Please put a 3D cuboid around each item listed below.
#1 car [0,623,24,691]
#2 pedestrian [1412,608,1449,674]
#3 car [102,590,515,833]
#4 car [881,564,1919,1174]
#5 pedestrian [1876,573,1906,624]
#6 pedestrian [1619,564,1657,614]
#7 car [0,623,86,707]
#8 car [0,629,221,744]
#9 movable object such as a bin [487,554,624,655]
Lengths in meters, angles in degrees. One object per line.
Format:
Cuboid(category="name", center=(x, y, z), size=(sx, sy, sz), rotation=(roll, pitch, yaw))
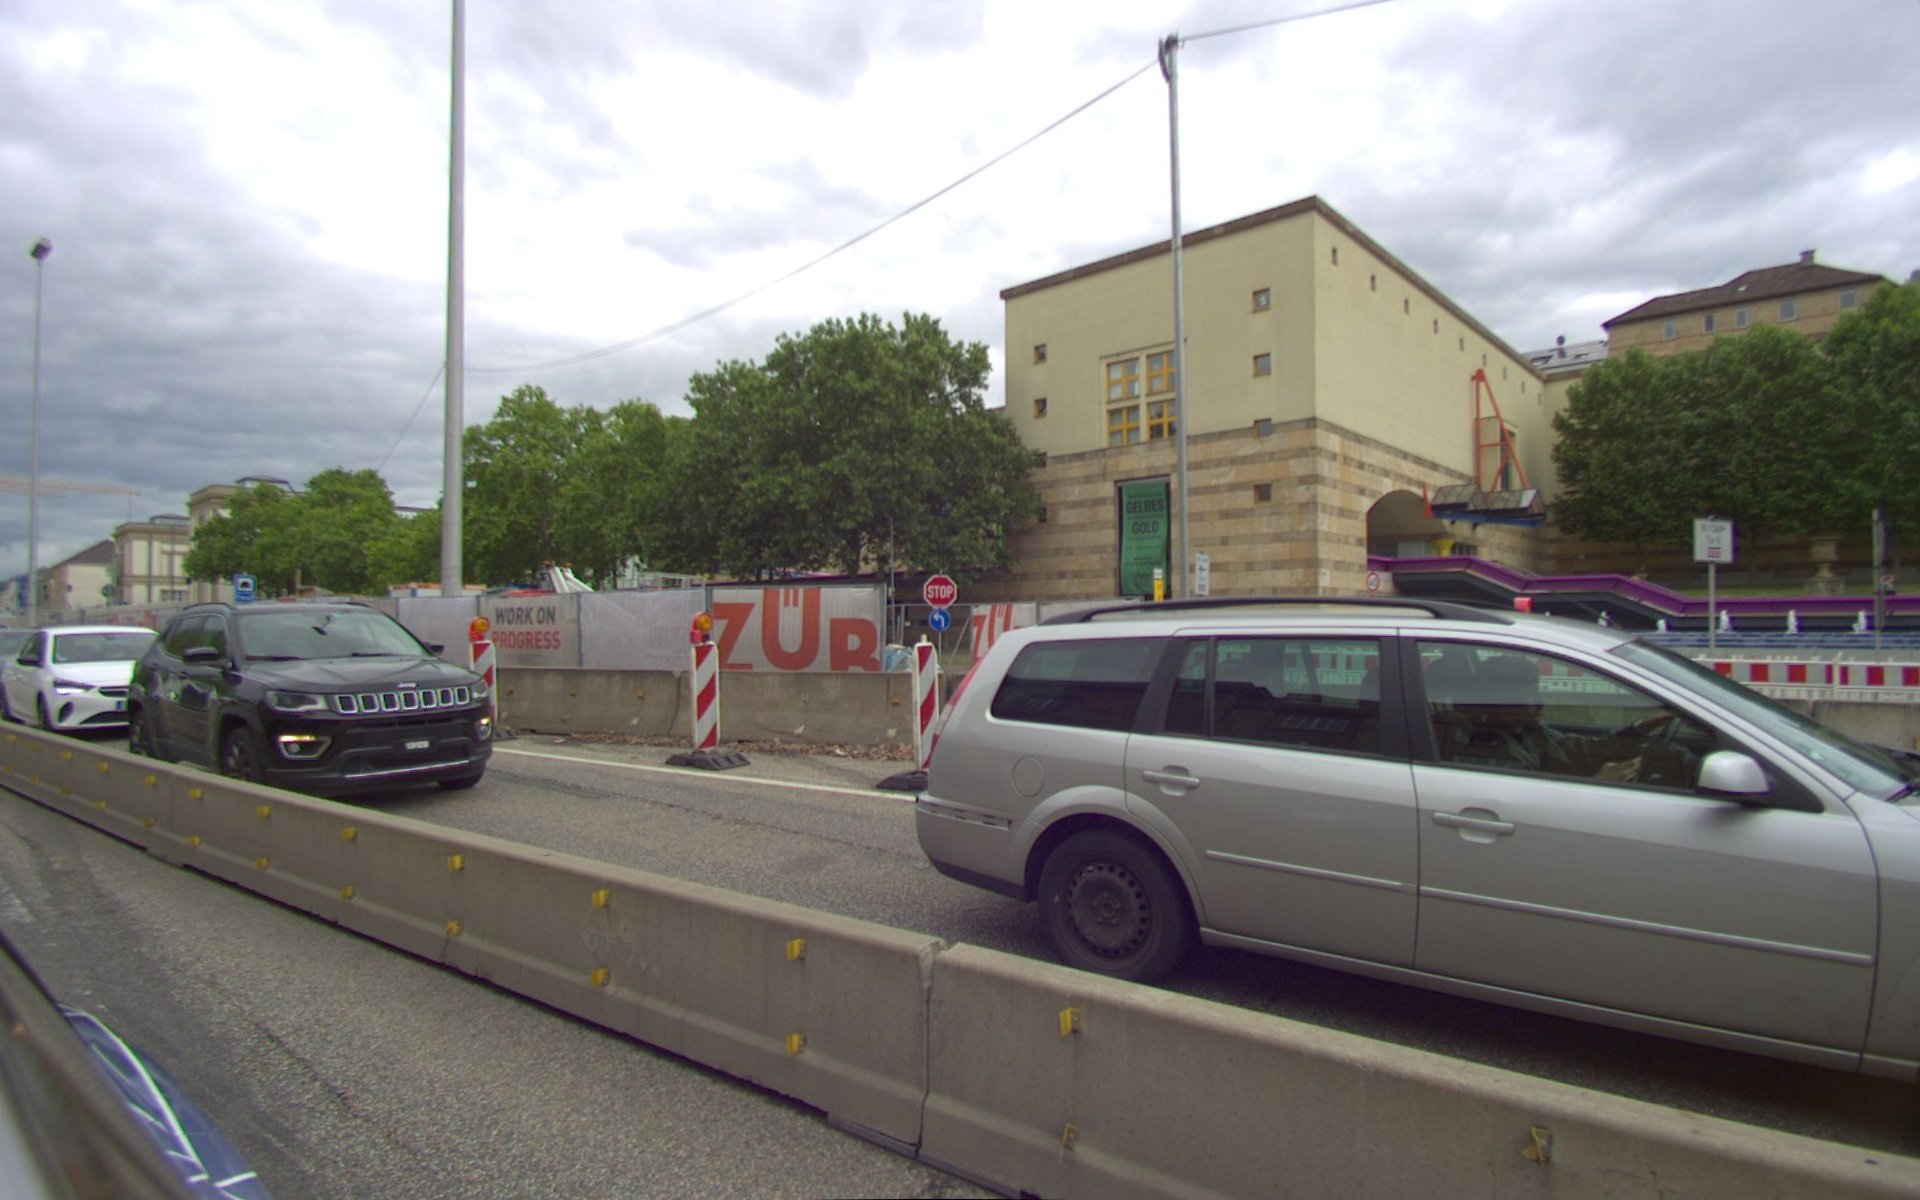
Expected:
Cuboid(category="car", center=(-23.750, 1.359, 24.229), size=(2.999, 1.566, 1.613), rotation=(-1, -1, 40))
Cuboid(category="pedestrian", center=(14.997, 1.285, 32.259), size=(0.815, 2.029, 0.836), rotation=(-1, 0, 42))
Cuboid(category="car", center=(-5.744, 0.772, 8.755), size=(4.040, 1.633, 1.759), rotation=(-1, -1, 38))
Cuboid(category="car", center=(2.116, 0.673, 3.772), size=(4.692, 1.492, 1.863), rotation=(-1, -1, 34))
Cuboid(category="pedestrian", center=(34.731, -0.064, 37.757), size=(0.804, 1.866, 0.684), rotation=(-1, 0, 43))
Cuboid(category="pedestrian", center=(28.072, -0.458, 41.912), size=(0.907, 2.029, 1.094), rotation=(-2, 1, -44))
Cuboid(category="car", center=(-18.247, 1.190, 19.183), size=(4.561, 1.426, 1.835), rotation=(-1, 0, 40))
Cuboid(category="car", center=(-11.813, 1.074, 13.859), size=(3.929, 1.306, 1.710), rotation=(-1, -1, 38))
Cuboid(category="movable object such as a bin", center=(-9.433, 0.144, 23.547), size=(3.288, 2.202, 1.507), rotation=(-2, -2, 38))
